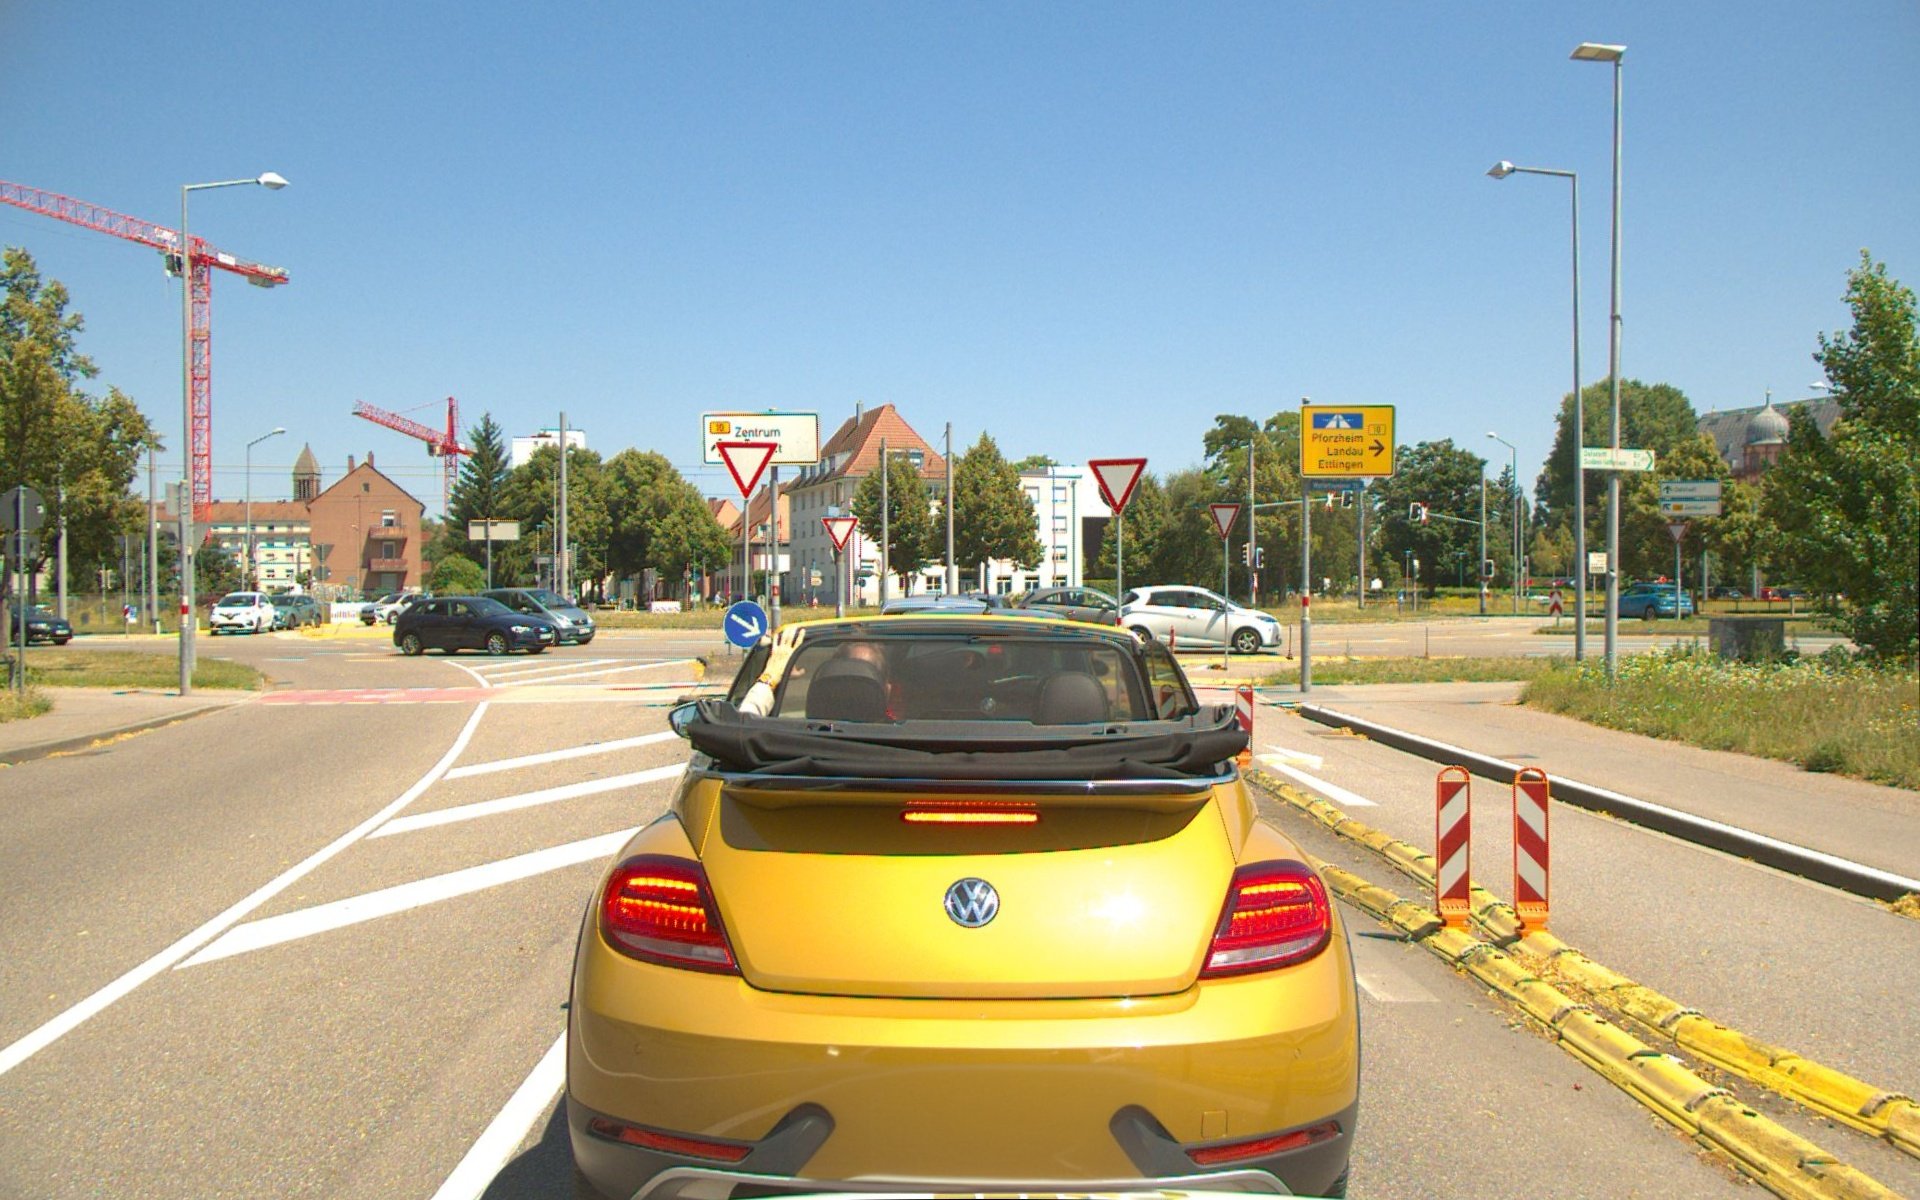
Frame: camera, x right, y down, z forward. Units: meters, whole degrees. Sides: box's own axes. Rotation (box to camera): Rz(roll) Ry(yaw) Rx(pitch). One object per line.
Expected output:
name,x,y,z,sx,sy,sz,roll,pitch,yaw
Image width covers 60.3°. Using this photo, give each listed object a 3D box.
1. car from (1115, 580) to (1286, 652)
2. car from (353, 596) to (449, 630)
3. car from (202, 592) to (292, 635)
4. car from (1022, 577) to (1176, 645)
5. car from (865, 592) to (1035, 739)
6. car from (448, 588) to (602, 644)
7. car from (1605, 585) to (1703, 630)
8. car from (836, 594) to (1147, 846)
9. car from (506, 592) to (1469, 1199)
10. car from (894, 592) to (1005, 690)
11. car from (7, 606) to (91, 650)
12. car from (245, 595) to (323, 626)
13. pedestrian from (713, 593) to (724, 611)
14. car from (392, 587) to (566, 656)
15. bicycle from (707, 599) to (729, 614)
car,5.706,0.366,39.230,3.913,1.648,1.682,0,0,9
car,-26.265,0.600,77.869,1.676,1.526,4.210,0,0,32
car,-26.960,0.504,62.667,1.720,1.576,3.999,0,0,-1
car,3.668,0.288,43.574,3.903,1.522,1.648,-3,-1,6
car,-0.125,0.659,18.672,1.701,1.467,3.999,0,0,-1
car,-12.172,0.428,46.248,3.907,1.522,1.800,0,0,24
car,29.539,0.303,70.527,1.959,1.870,3.988,0,0,-12
car,0.159,0.701,11.663,1.810,1.467,3.999,0,0,-1
car,0.023,0.713,4.844,1.717,1.447,3.776,0,0,-1
car,-0.182,0.633,27.473,1.701,1.503,3.999,0,0,-1
car,-31.929,0.948,57.909,1.805,1.472,4.468,0,0,-39
car,-27.795,0.420,68.100,1.672,1.258,3.786,0,0,-1
pedestrian,-16.716,0.121,114.560,0.666,1.252,0.496,0,0,-19
car,-12.118,0.523,41.728,3.915,1.648,1.738,0,0,17
bicycle,-16.780,0.454,114.533,1.444,1.090,0.496,0,0,-20
